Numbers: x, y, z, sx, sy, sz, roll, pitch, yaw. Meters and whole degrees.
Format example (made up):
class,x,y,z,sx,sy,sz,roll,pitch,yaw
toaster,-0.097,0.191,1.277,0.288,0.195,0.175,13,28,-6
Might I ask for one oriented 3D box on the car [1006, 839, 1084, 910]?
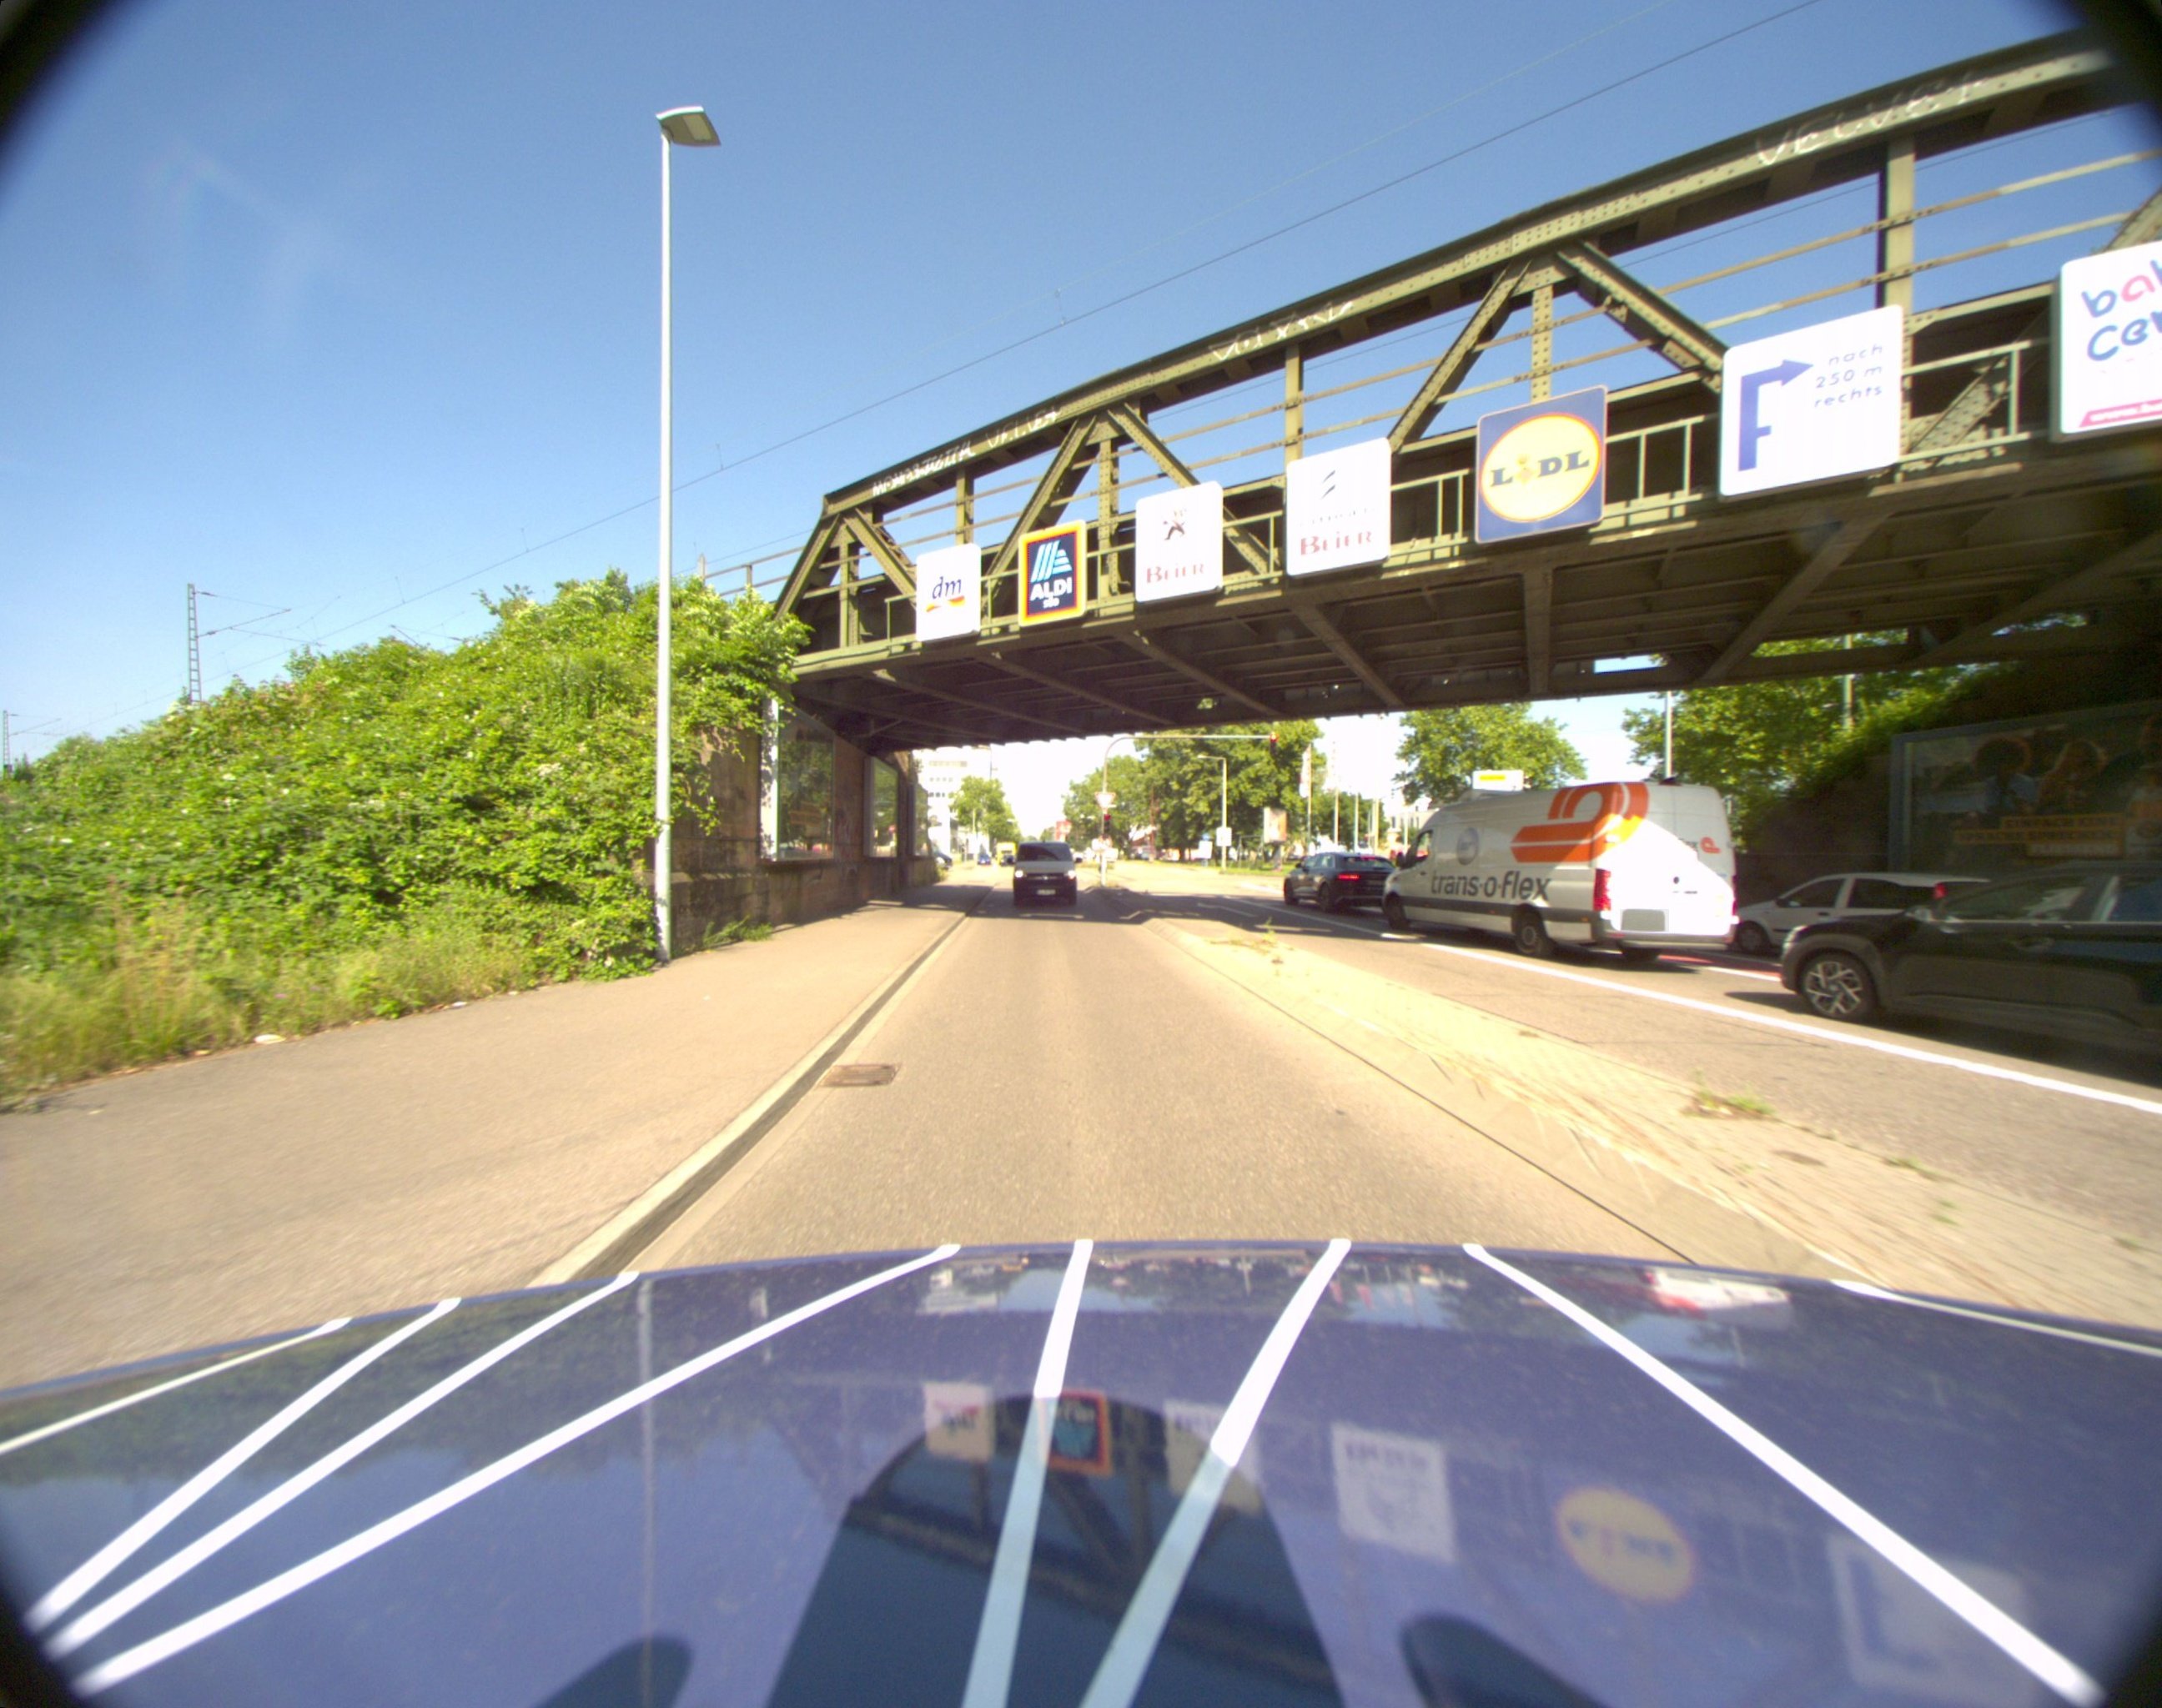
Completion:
class,x,y,z,sx,sy,sz,roll,pitch,yaw
car,-1.234,0.561,23.756,1.888,1.982,4.970,0,0,-9

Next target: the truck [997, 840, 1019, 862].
class,x,y,z,sx,sy,sz,roll,pitch,yaw
truck,-9.852,-0.369,101.893,2.411,2.846,5.800,-2,0,-9

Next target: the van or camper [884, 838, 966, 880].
class,x,y,z,sx,sy,sz,roll,pitch,yaw
van or camper,-12.338,0.401,60.352,5.776,3.136,2.601,-2,0,3

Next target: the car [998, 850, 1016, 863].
class,x,y,z,sx,sy,sz,roll,pitch,yaw
car,-8.390,0.262,85.861,1.824,1.346,3.997,0,0,-8

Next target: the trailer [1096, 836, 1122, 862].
class,x,y,z,sx,sy,sz,roll,pitch,yaw
trailer,4.471,-0.672,125.253,2.940,3.938,12.136,-2,-1,-4

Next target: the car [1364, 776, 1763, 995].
class,x,y,z,sx,sy,sz,roll,pitch,yaw
car,7.617,0.404,13.385,2.000,2.789,6.933,2,0,-5

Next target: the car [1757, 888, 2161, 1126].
class,x,y,z,sx,sy,sz,roll,pitch,yaw
car,8.036,1.100,5.859,1.773,1.485,4.176,2,-1,-3

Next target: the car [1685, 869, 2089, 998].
class,x,y,z,sx,sy,sz,roll,pitch,yaw
car,12.750,1.138,12.538,1.990,1.679,4.287,2,-1,-3

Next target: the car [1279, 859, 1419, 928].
class,x,y,z,sx,sy,sz,roll,pitch,yaw
car,7.335,1.009,21.454,1.999,1.672,4.948,0,0,-3

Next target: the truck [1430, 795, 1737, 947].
class,x,y,z,sx,sy,sz,roll,pitch,yaw
truck,11.857,0.335,18.967,2.348,3.070,7.065,0,0,-7

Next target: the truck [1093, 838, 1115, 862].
class,x,y,z,sx,sy,sz,roll,pitch,yaw
truck,3.989,-0.576,131.884,2.940,3.966,8.151,-2,0,-4
